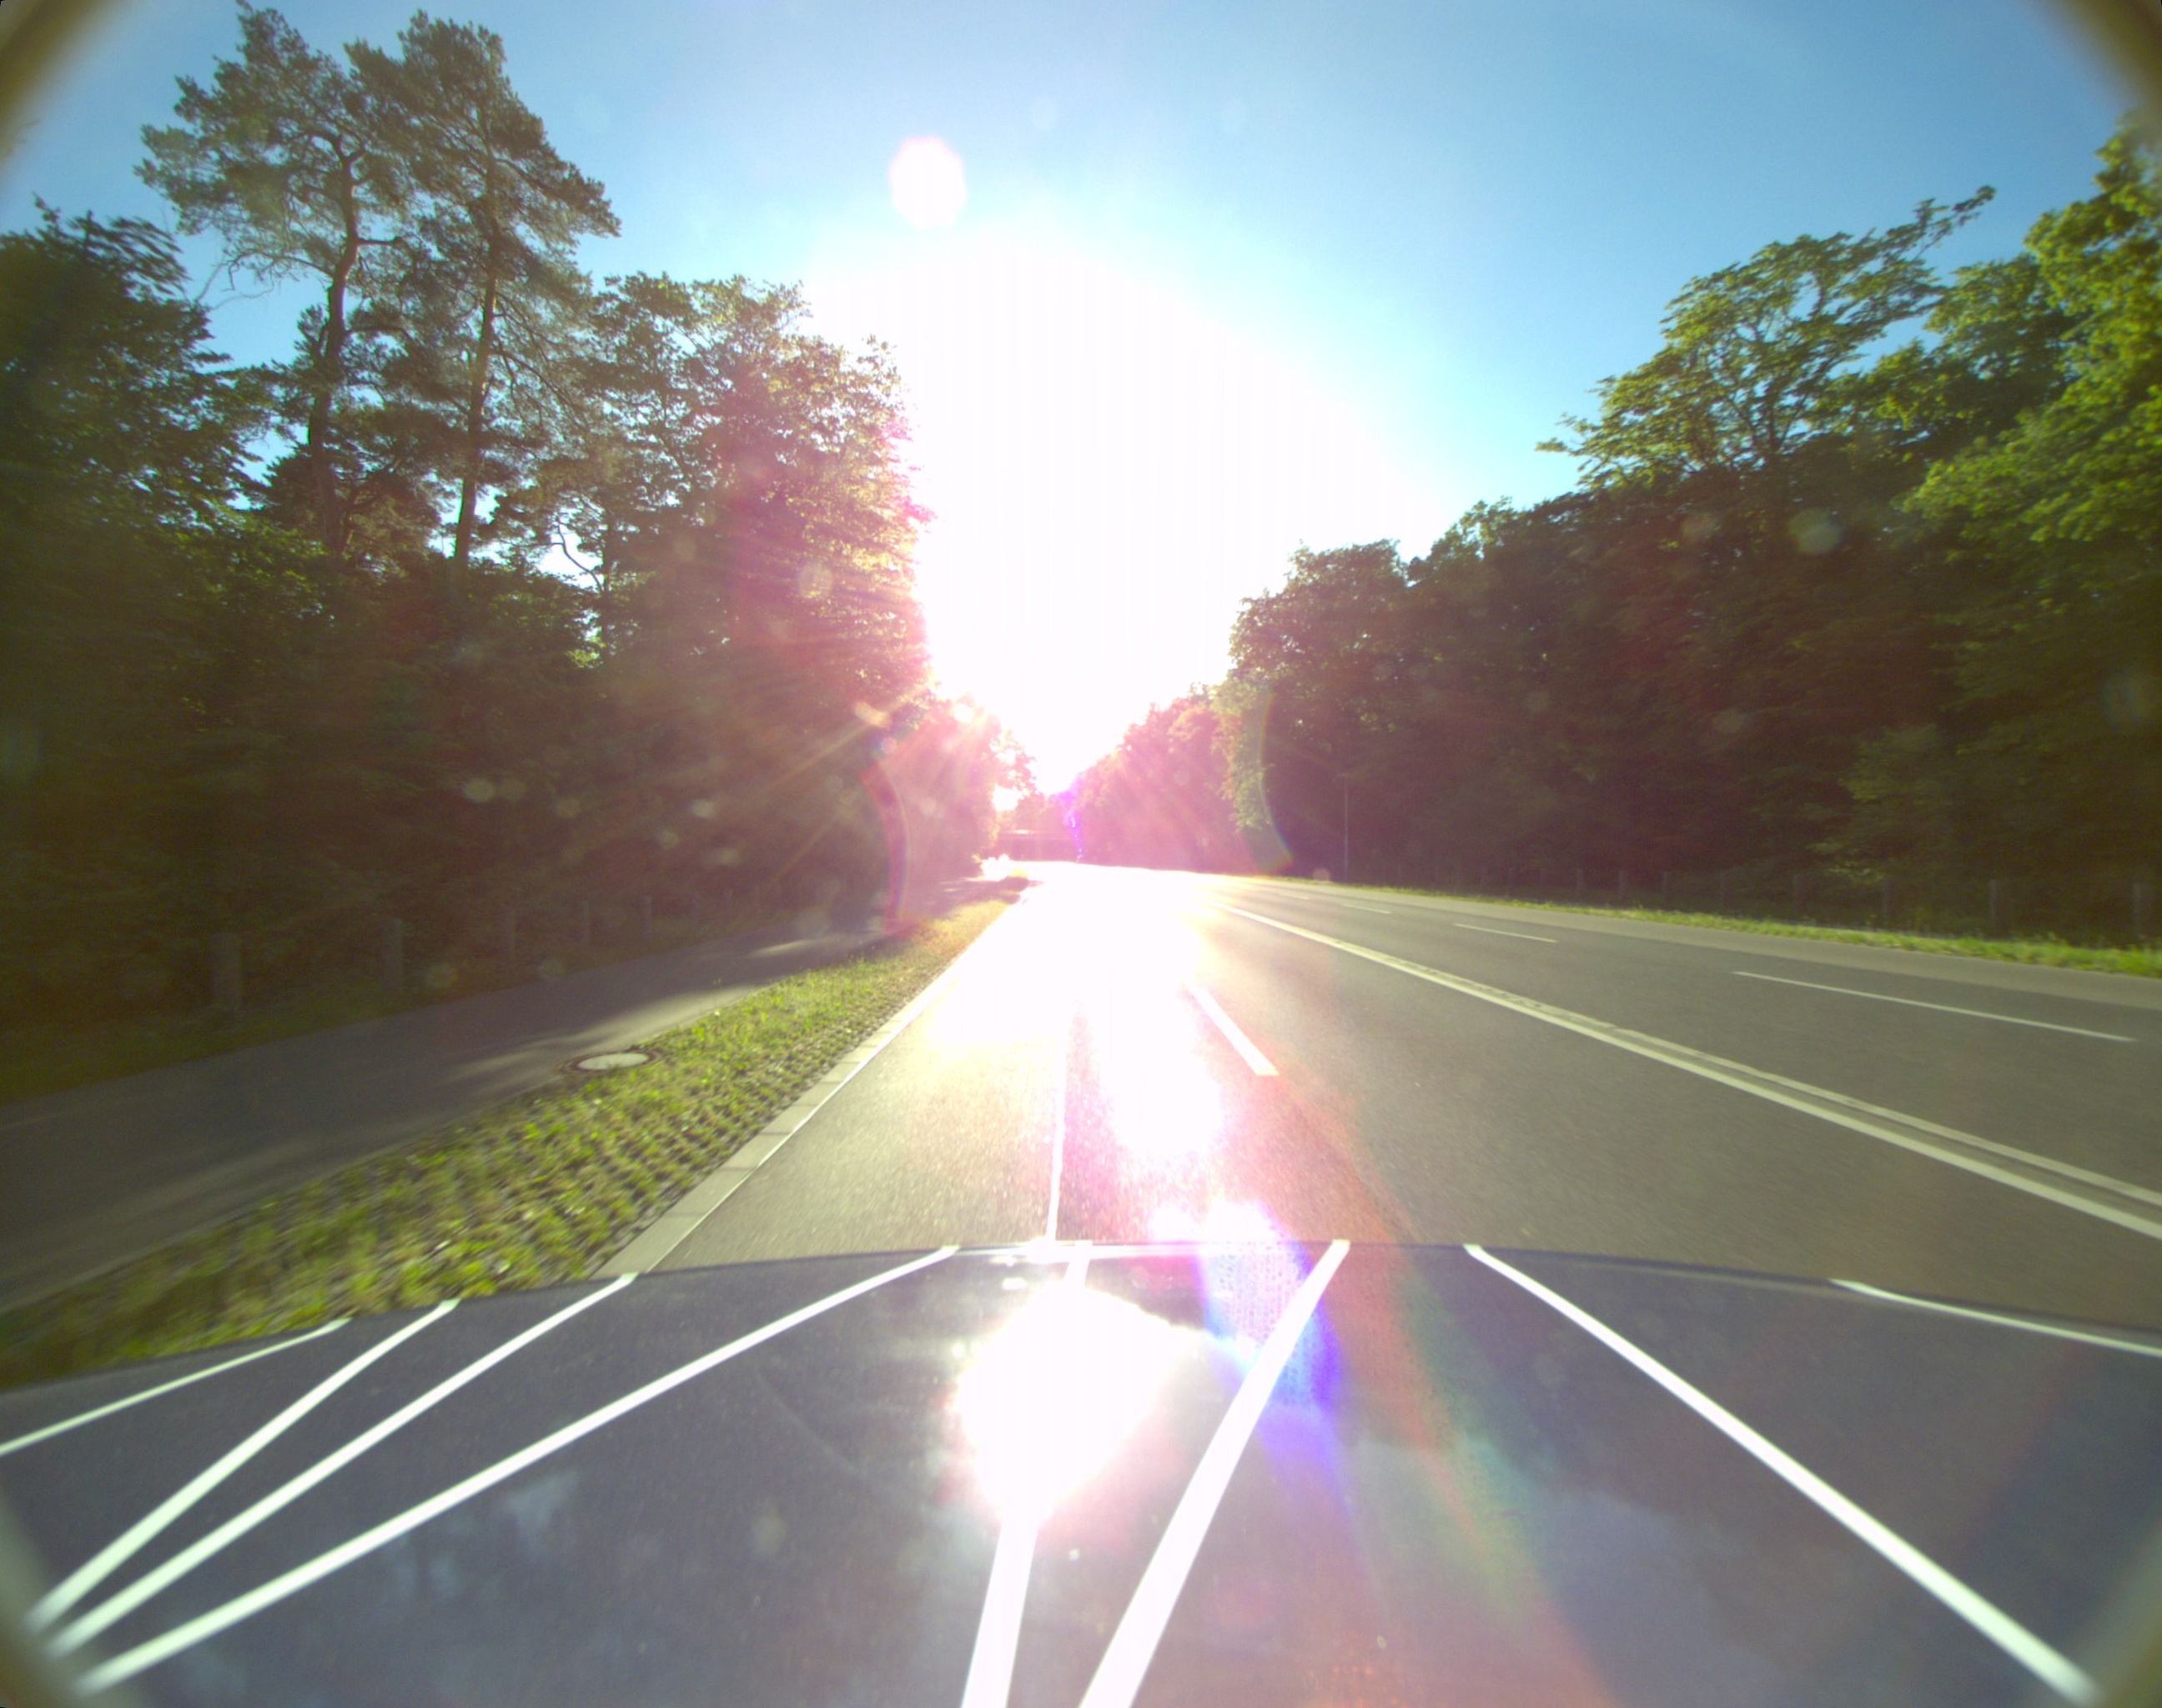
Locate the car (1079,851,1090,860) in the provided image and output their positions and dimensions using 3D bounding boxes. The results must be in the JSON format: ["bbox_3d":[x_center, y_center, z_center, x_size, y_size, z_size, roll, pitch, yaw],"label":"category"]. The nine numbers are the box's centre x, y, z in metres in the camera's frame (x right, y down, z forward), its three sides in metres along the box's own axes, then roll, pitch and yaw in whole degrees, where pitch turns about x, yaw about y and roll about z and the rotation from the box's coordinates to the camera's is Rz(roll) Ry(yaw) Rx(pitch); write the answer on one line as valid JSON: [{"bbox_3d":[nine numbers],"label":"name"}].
[{"bbox_3d":[0.617,0.277,128.289,1.592,1.429,4.307,-3,0,-3],"label":"car"}]

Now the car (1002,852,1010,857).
[{"bbox_3d":[-22.951,0.205,232.867,1.828,1.674,3.995,-1,0,-13],"label":"car"}]

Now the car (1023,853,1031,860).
[{"bbox_3d":[-16.377,0.712,231.343,2.008,1.815,4.995,-3,0,-9],"label":"car"}]
